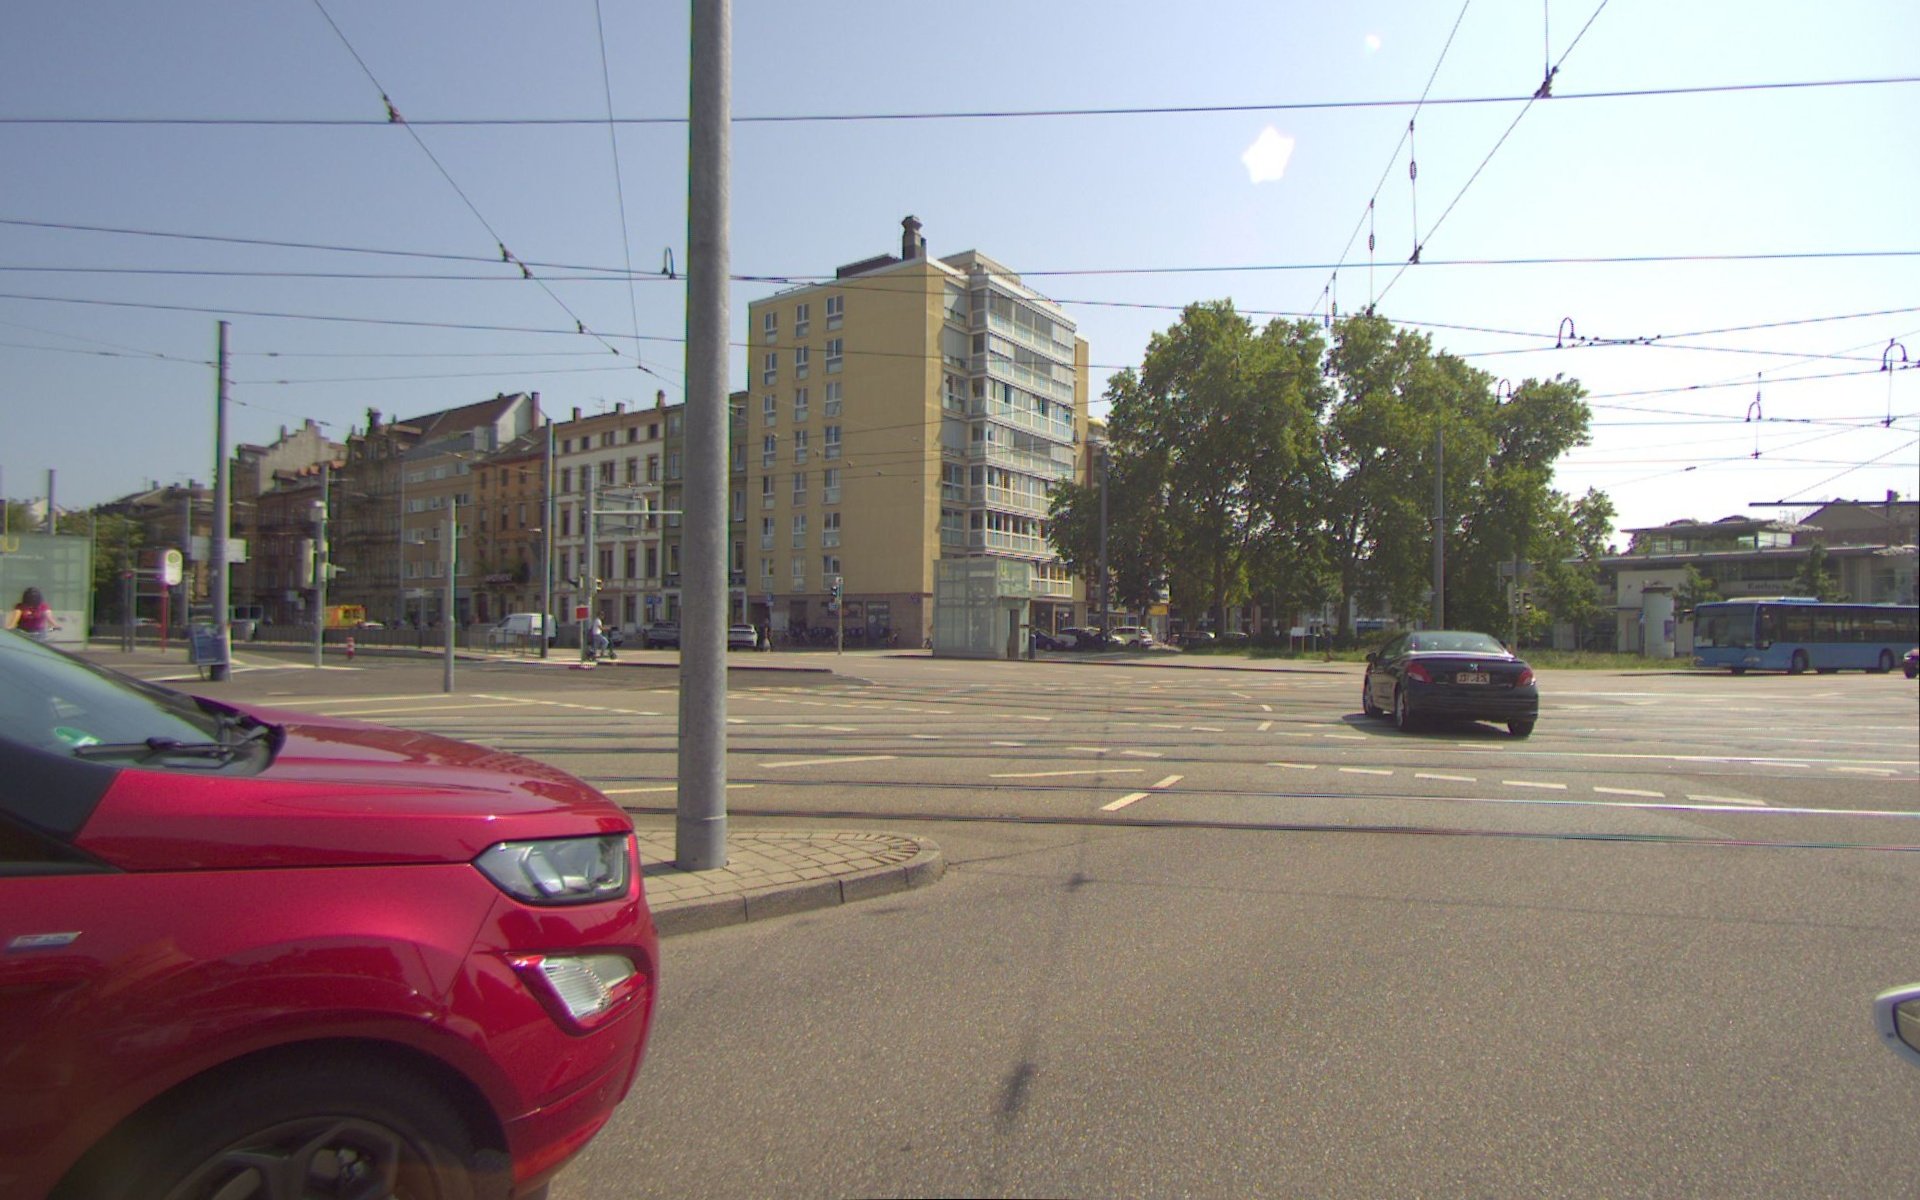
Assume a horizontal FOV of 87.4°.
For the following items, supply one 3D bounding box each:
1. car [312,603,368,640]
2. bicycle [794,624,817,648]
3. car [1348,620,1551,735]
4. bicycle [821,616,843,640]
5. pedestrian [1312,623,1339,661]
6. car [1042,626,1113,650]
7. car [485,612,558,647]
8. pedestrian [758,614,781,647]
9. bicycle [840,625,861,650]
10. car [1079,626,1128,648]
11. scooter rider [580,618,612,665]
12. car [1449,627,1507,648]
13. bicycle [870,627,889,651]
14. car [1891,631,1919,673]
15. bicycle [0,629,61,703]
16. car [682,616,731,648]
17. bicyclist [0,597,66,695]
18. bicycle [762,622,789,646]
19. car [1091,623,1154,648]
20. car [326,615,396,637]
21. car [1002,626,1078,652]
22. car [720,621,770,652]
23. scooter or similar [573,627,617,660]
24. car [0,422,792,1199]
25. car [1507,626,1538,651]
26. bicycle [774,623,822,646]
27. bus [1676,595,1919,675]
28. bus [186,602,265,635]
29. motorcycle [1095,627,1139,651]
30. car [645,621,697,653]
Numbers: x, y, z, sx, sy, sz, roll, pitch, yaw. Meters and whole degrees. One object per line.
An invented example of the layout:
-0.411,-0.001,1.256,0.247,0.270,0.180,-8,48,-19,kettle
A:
-50.581,1.720,81.872,5.515,2.927,2.296,-1,-1,40,car
-9.555,2.229,62.340,0.886,1.423,3.364,0,-1,0,bicycle
7.076,1.047,14.966,1.759,1.450,4.003,1,-1,11,car
-7.742,1.714,60.894,0.886,1.423,3.364,0,-1,0,bicycle
15.916,1.814,43.731,0.933,1.630,0.791,-1,-2,33,pedestrian
7.552,2.419,64.803,4.175,1.490,1.901,-1,-2,34,car
-23.461,1.628,53.692,3.934,1.803,1.790,-2,-3,35,car
-10.191,1.627,53.746,0.886,1.726,1.039,1,-3,10,pedestrian
-6.632,2.248,60.774,0.886,1.423,3.364,0,-1,0,bicycle
9.859,2.561,69.141,3.046,1.447,1.400,-1,-2,34,car
-13.280,1.498,36.686,0.765,1.695,0.772,0,-1,32,scooter rider
44.836,3.239,86.984,4.178,1.776,1.715,1,-1,-4,car
-4.784,2.304,59.810,0.886,1.423,3.364,0,-1,0,bicycle
35.889,1.906,36.489,3.717,1.491,1.622,1,-1,-22,car
-14.744,1.011,15.808,1.884,1.083,0.612,-1,-2,40,bicycle
-14.141,1.780,56.337,1.949,1.710,4.390,1,-1,-5,car
-14.721,0.706,15.770,0.965,1.479,0.874,0,-2,40,bicyclist
-10.382,1.923,56.501,1.764,1.313,0.472,-2,-2,38,bicycle
11.482,2.480,70.983,4.005,1.688,1.786,-1,-2,34,car
-43.010,1.853,72.076,5.449,1.305,1.996,2,-1,31,car
4.804,2.306,60.496,4.175,1.490,1.901,-1,-2,34,car
-11.622,2.018,54.458,1.771,1.519,3.787,2,-3,1,car
-13.304,1.587,36.652,0.697,1.163,1.338,0,-2,34,scooter or similar
-2.513,0.562,1.741,4.041,1.639,1.751,2,-2,-35,car
50.159,3.430,89.616,2.292,2.040,6.797,2,-1,30,car
-10.305,2.178,63.751,3.307,1.423,0.902,0,-2,34,bicycle
35.576,1.519,42.290,11.900,3.105,2.722,1,-1,-21,bus
-70.374,1.812,96.141,12.235,3.071,2.533,-1,-2,36,bus
7.904,1.967,50.692,0.905,1.151,2.087,2,-2,-41,motorcycle
-16.857,2.134,58.752,2.005,1.736,4.663,1,-1,-5,car
